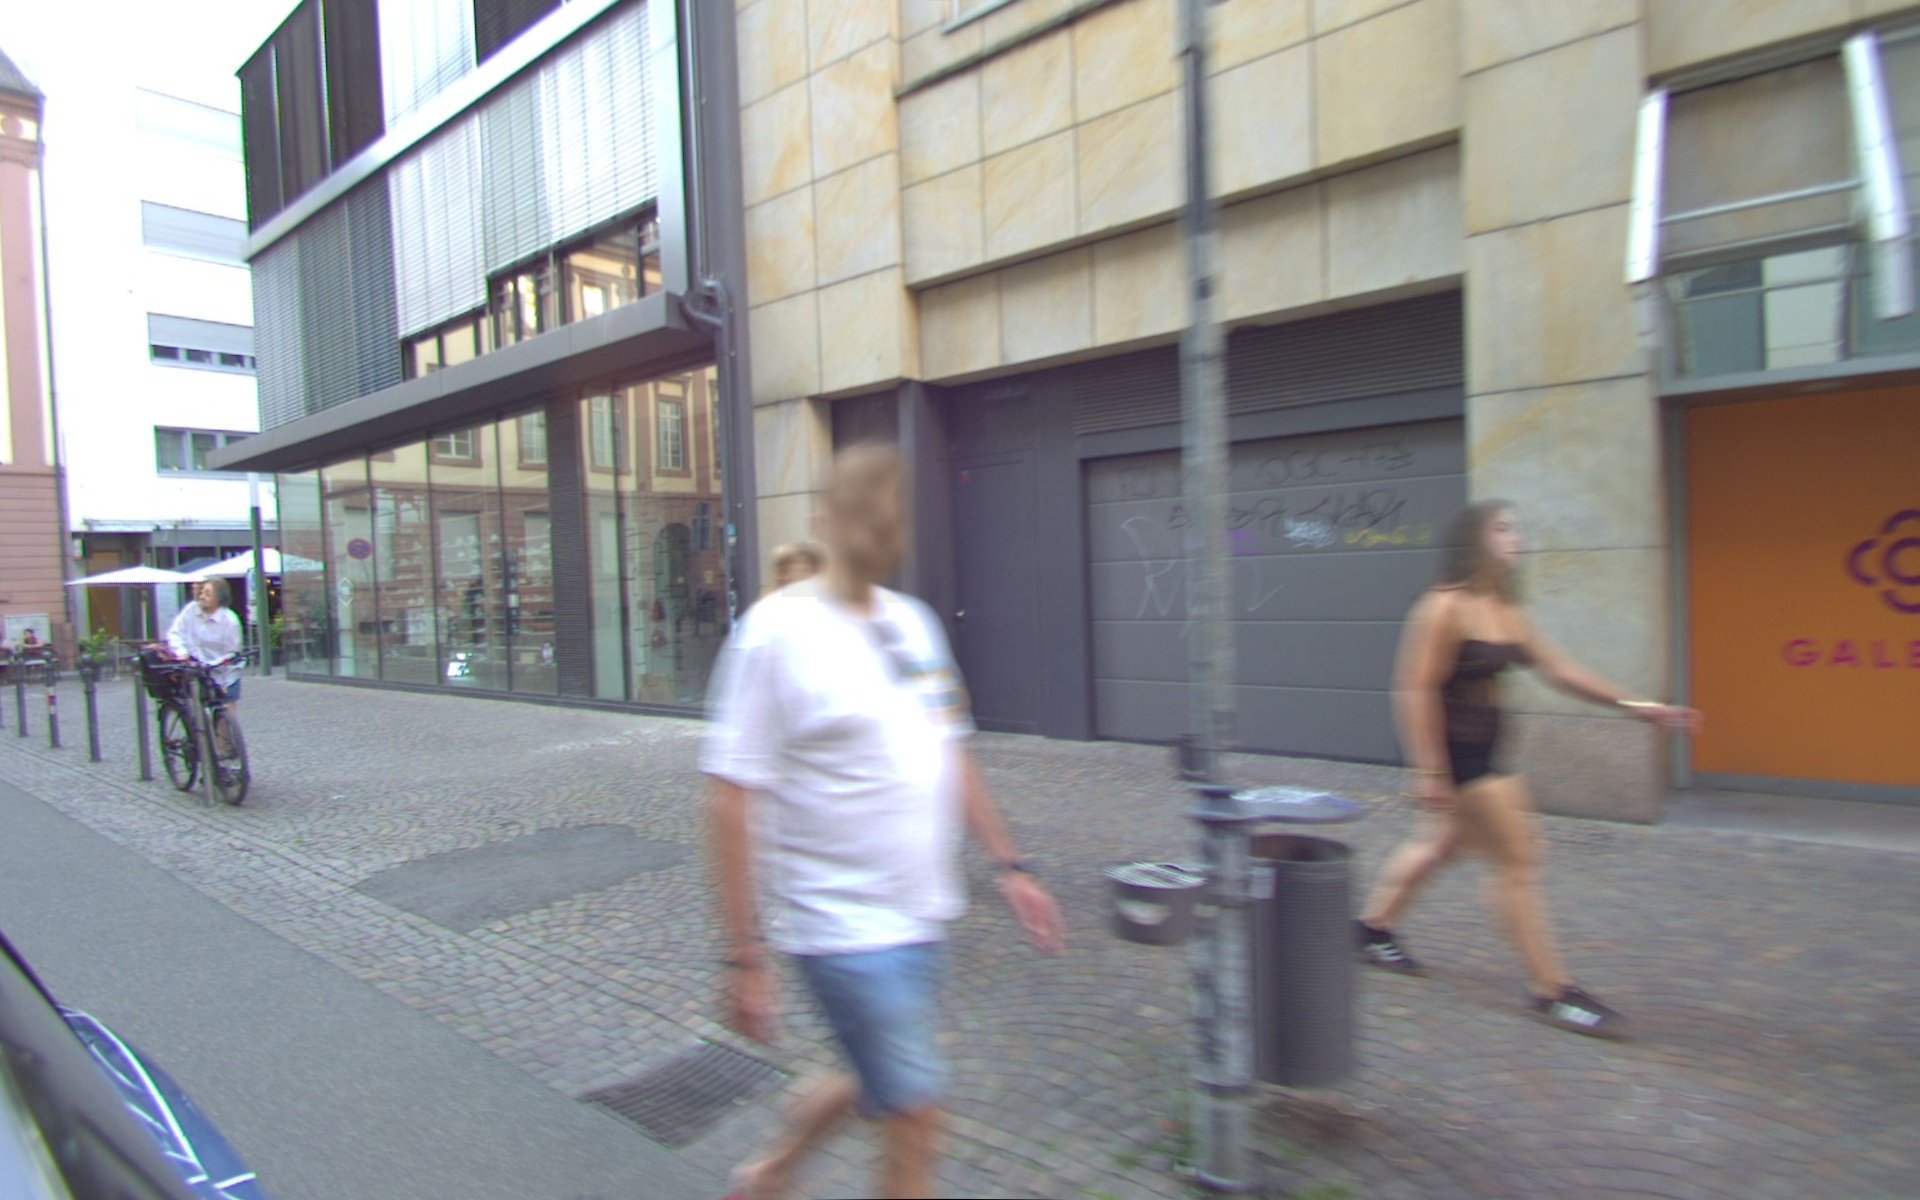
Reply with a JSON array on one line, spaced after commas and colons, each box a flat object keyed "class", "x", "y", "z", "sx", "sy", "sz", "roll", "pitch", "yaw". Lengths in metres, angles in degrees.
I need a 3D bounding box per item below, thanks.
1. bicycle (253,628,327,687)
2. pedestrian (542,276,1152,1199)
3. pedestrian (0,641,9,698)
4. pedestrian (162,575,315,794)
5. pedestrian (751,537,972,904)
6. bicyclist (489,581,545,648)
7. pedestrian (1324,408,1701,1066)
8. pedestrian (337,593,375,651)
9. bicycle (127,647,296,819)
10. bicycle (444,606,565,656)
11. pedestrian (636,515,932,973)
[{"class": "bicycle", "x": -13.698, "y": 1.175, "z": 20.670, "sx": 1.671, "sy": 1.121, "sz": 0.701, "roll": -3, "pitch": 0, "yaw": 37}, {"class": "pedestrian", "x": -0.206, "y": 0.463, "z": 1.981, "sx": 0.876, "sy": 1.836, "sz": 0.735, "roll": -1, "pitch": 1, "yaw": 36}, {"class": "pedestrian", "x": -21.105, "y": 1.522, "z": 21.993, "sx": 0.524, "sy": 1.220, "sz": 0.542, "roll": -2, "pitch": 1, "yaw": 40}, {"class": "pedestrian", "x": -6.066, "y": 0.681, "z": 8.545, "sx": 0.584, "sy": 1.731, "sz": 0.769, "roll": -3, "pitch": 2, "yaw": 7}, {"class": "pedestrian", "x": -0.471, "y": 0.555, "z": 5.060, "sx": 0.853, "sy": 1.677, "sz": 0.673, "roll": -2, "pitch": 1, "yaw": 17}, {"class": "bicyclist", "x": -12.186, "y": 0.384, "z": 27.854, "sx": 1.263, "sy": 1.741, "sz": 0.897, "roll": -3, "pitch": 1, "yaw": -30}, {"class": "pedestrian", "x": 1.848, "y": 0.377, "z": 3.383, "sx": 0.970, "sy": 1.809, "sz": 0.778, "roll": -1, "pitch": 1, "yaw": 36}, {"class": "pedestrian", "x": -17.886, "y": 0.657, "z": 29.984, "sx": 0.618, "sy": 1.678, "sz": 0.668, "roll": -3, "pitch": 0, "yaw": 10}, {"class": "bicycle", "x": -5.964, "y": 0.985, "z": 8.022, "sx": 1.912, "sy": 1.162, "sz": 0.528, "roll": -1, "pitch": 3, "yaw": 38}, {"class": "bicycle", "x": -12.450, "y": 0.830, "z": 27.722, "sx": 2.904, "sy": 1.177, "sz": 0.897, "roll": -3, "pitch": 1, "yaw": -30}, {"class": "pedestrian", "x": -0.722, "y": 0.552, "z": 4.366, "sx": 0.940, "sy": 1.742, "sz": 0.805, "roll": -2, "pitch": 1, "yaw": 17}]
